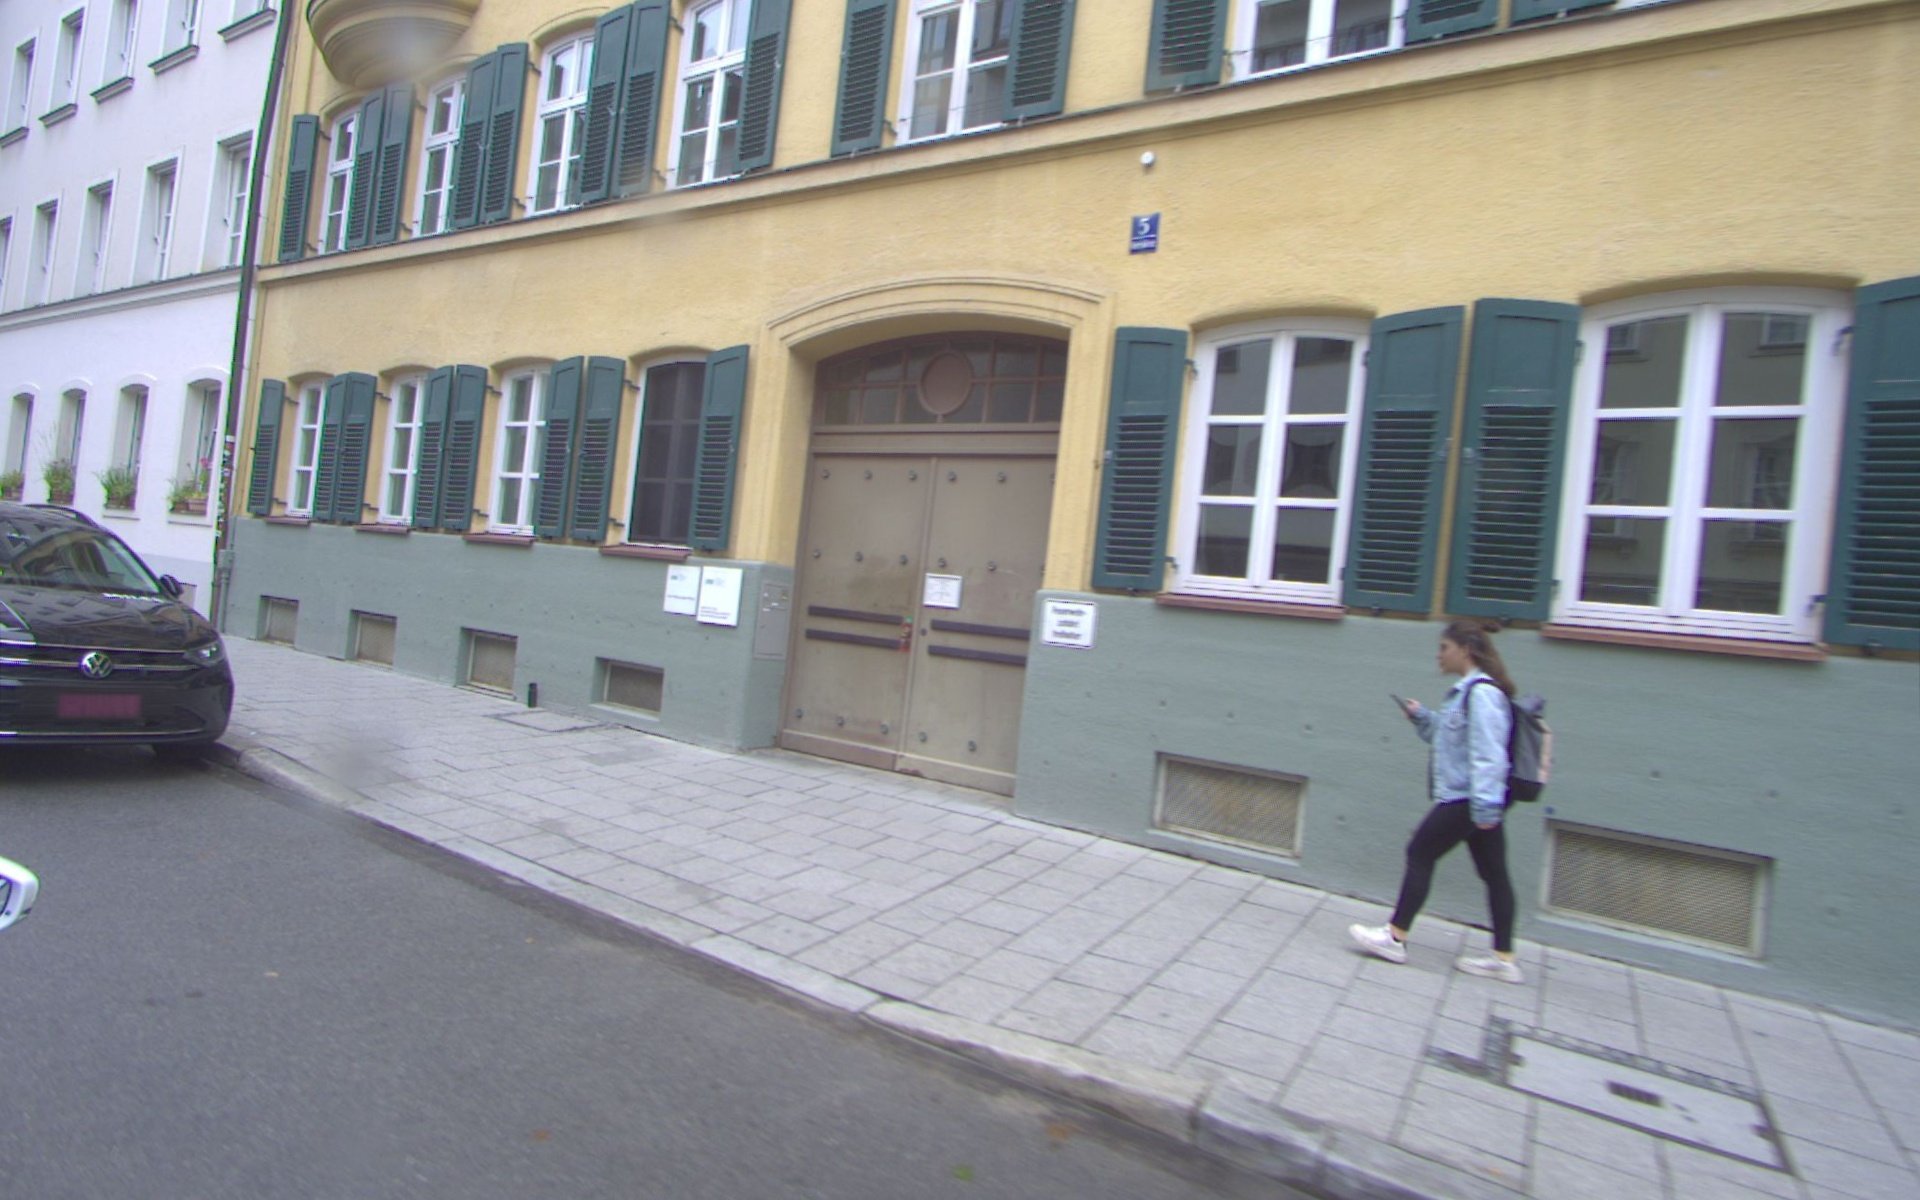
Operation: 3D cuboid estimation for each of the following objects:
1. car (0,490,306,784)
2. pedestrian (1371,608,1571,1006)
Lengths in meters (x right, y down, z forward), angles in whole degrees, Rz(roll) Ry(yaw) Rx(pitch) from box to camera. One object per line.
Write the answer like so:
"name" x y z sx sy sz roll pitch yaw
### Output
"car" -6.371 0.054 6.558 4.176 1.481 1.815 6 -2 32
"pedestrian" 2.320 0.863 4.555 0.632 1.592 0.660 5 2 31
